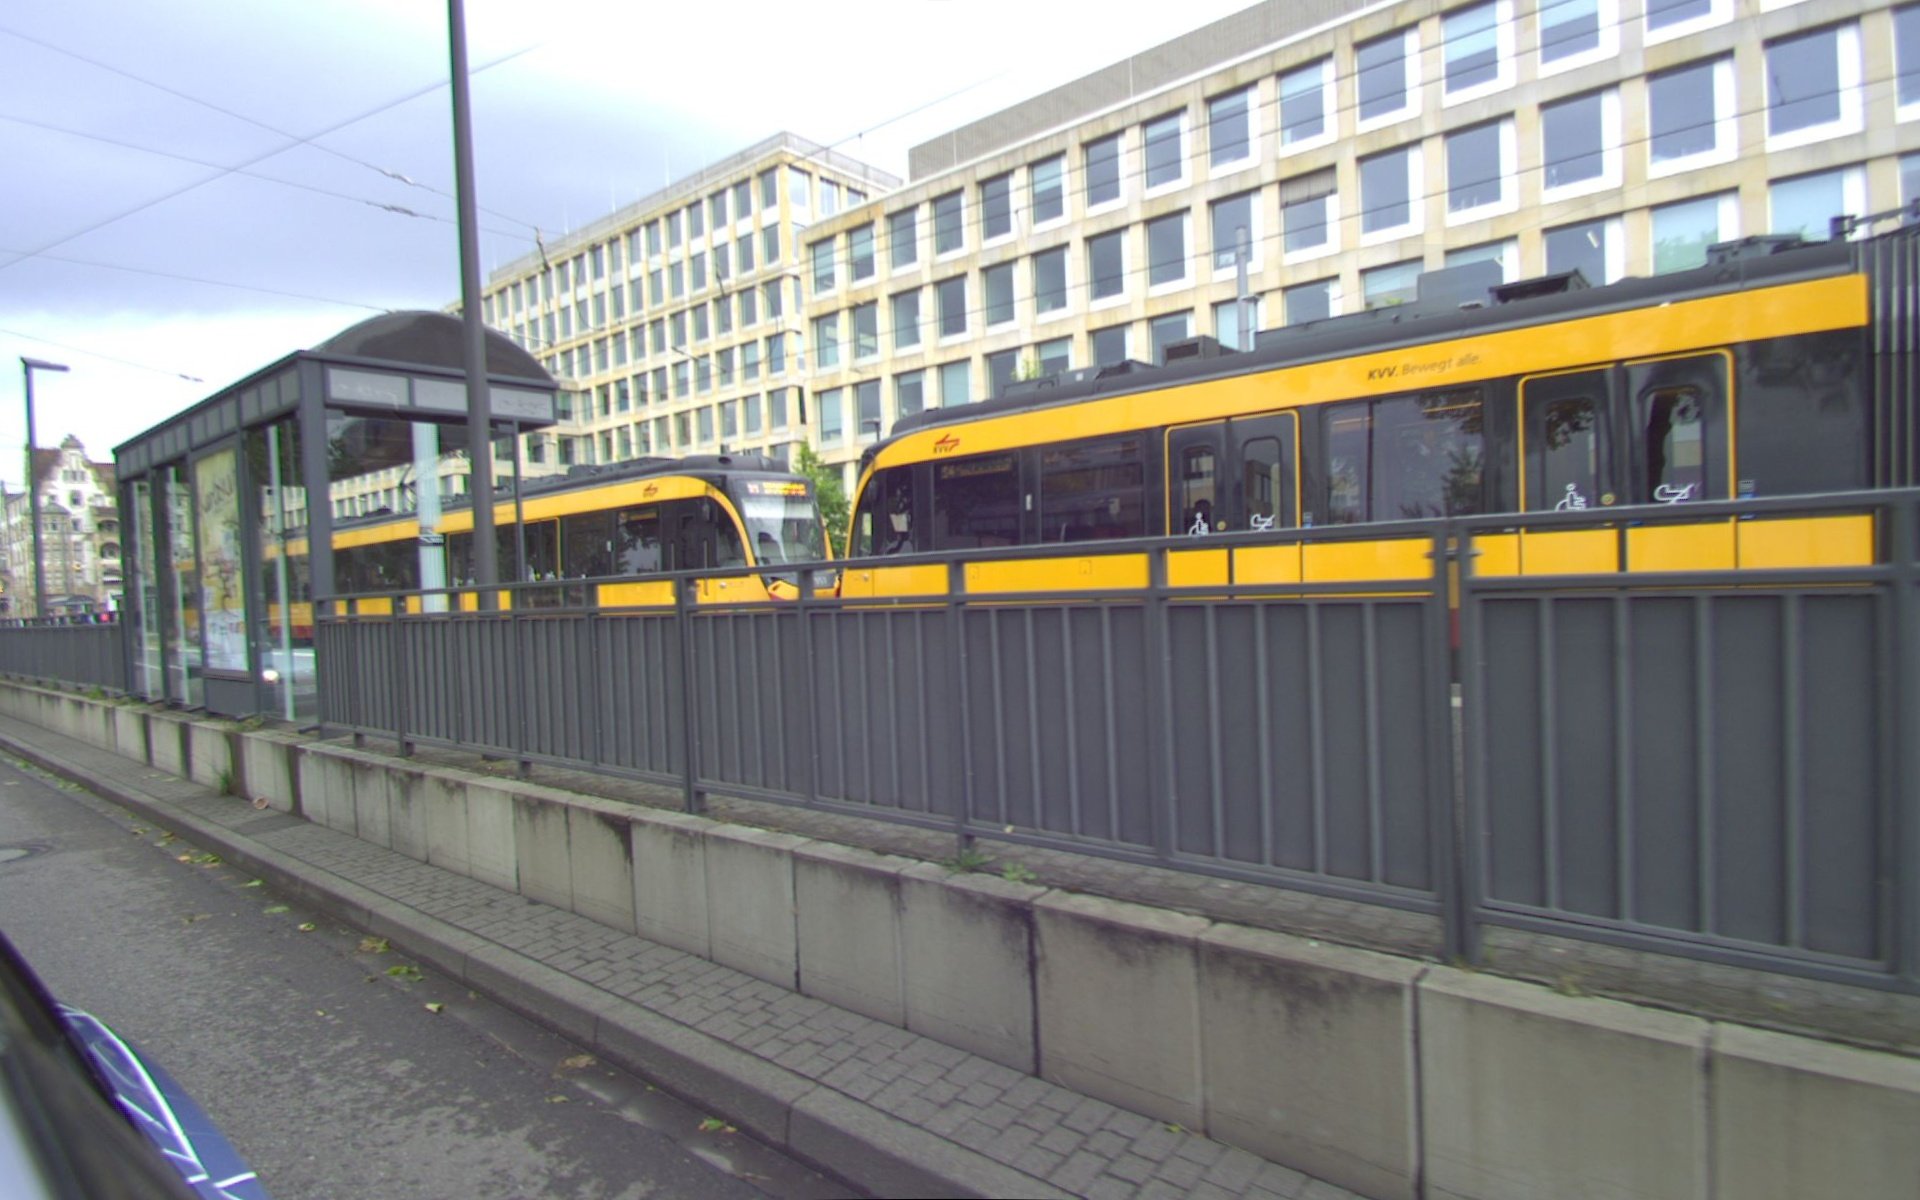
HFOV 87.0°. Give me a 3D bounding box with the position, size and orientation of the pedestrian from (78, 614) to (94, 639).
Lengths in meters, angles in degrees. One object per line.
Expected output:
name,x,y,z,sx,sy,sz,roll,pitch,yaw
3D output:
pedestrian,-64.376,1.924,74.543,0.589,1.782,0.588,-2,1,3

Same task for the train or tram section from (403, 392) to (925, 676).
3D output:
train or tram section,-6.864,-0.943,20.656,13.610,4.210,3.148,-1,1,40

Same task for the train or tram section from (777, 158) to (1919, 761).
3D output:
train or tram section,3.951,-0.963,11.507,14.723,4.210,3.148,-1,1,40

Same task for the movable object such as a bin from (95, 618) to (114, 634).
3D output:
movable object such as a bin,-57.880,1.776,68.443,0.714,1.029,0.620,-2,1,7

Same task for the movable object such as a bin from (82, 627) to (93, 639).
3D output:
movable object such as a bin,-59.657,2.237,69.181,0.529,0.753,0.469,-3,1,-44

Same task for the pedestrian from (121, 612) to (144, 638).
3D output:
pedestrian,-55.156,1.648,67.459,0.939,1.698,1.027,-1,1,43

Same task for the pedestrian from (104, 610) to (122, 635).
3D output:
pedestrian,-57.789,1.543,69.039,0.649,1.619,0.578,-2,1,7

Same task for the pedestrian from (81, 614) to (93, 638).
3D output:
pedestrian,-59.323,1.767,68.792,0.529,1.619,0.566,-3,1,-44

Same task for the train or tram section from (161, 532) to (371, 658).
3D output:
train or tram section,-25.038,-0.151,36.159,11.303,3.890,3.205,-1,1,40

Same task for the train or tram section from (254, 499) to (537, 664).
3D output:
train or tram section,-16.391,-0.423,28.780,11.303,3.890,3.132,-1,1,40

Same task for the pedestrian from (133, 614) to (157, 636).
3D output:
pedestrian,-53.454,1.646,66.379,0.939,1.382,1.027,-1,1,43

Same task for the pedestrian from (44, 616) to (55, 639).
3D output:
pedestrian,-69.745,2.109,77.524,0.588,1.782,0.589,-3,1,-43
